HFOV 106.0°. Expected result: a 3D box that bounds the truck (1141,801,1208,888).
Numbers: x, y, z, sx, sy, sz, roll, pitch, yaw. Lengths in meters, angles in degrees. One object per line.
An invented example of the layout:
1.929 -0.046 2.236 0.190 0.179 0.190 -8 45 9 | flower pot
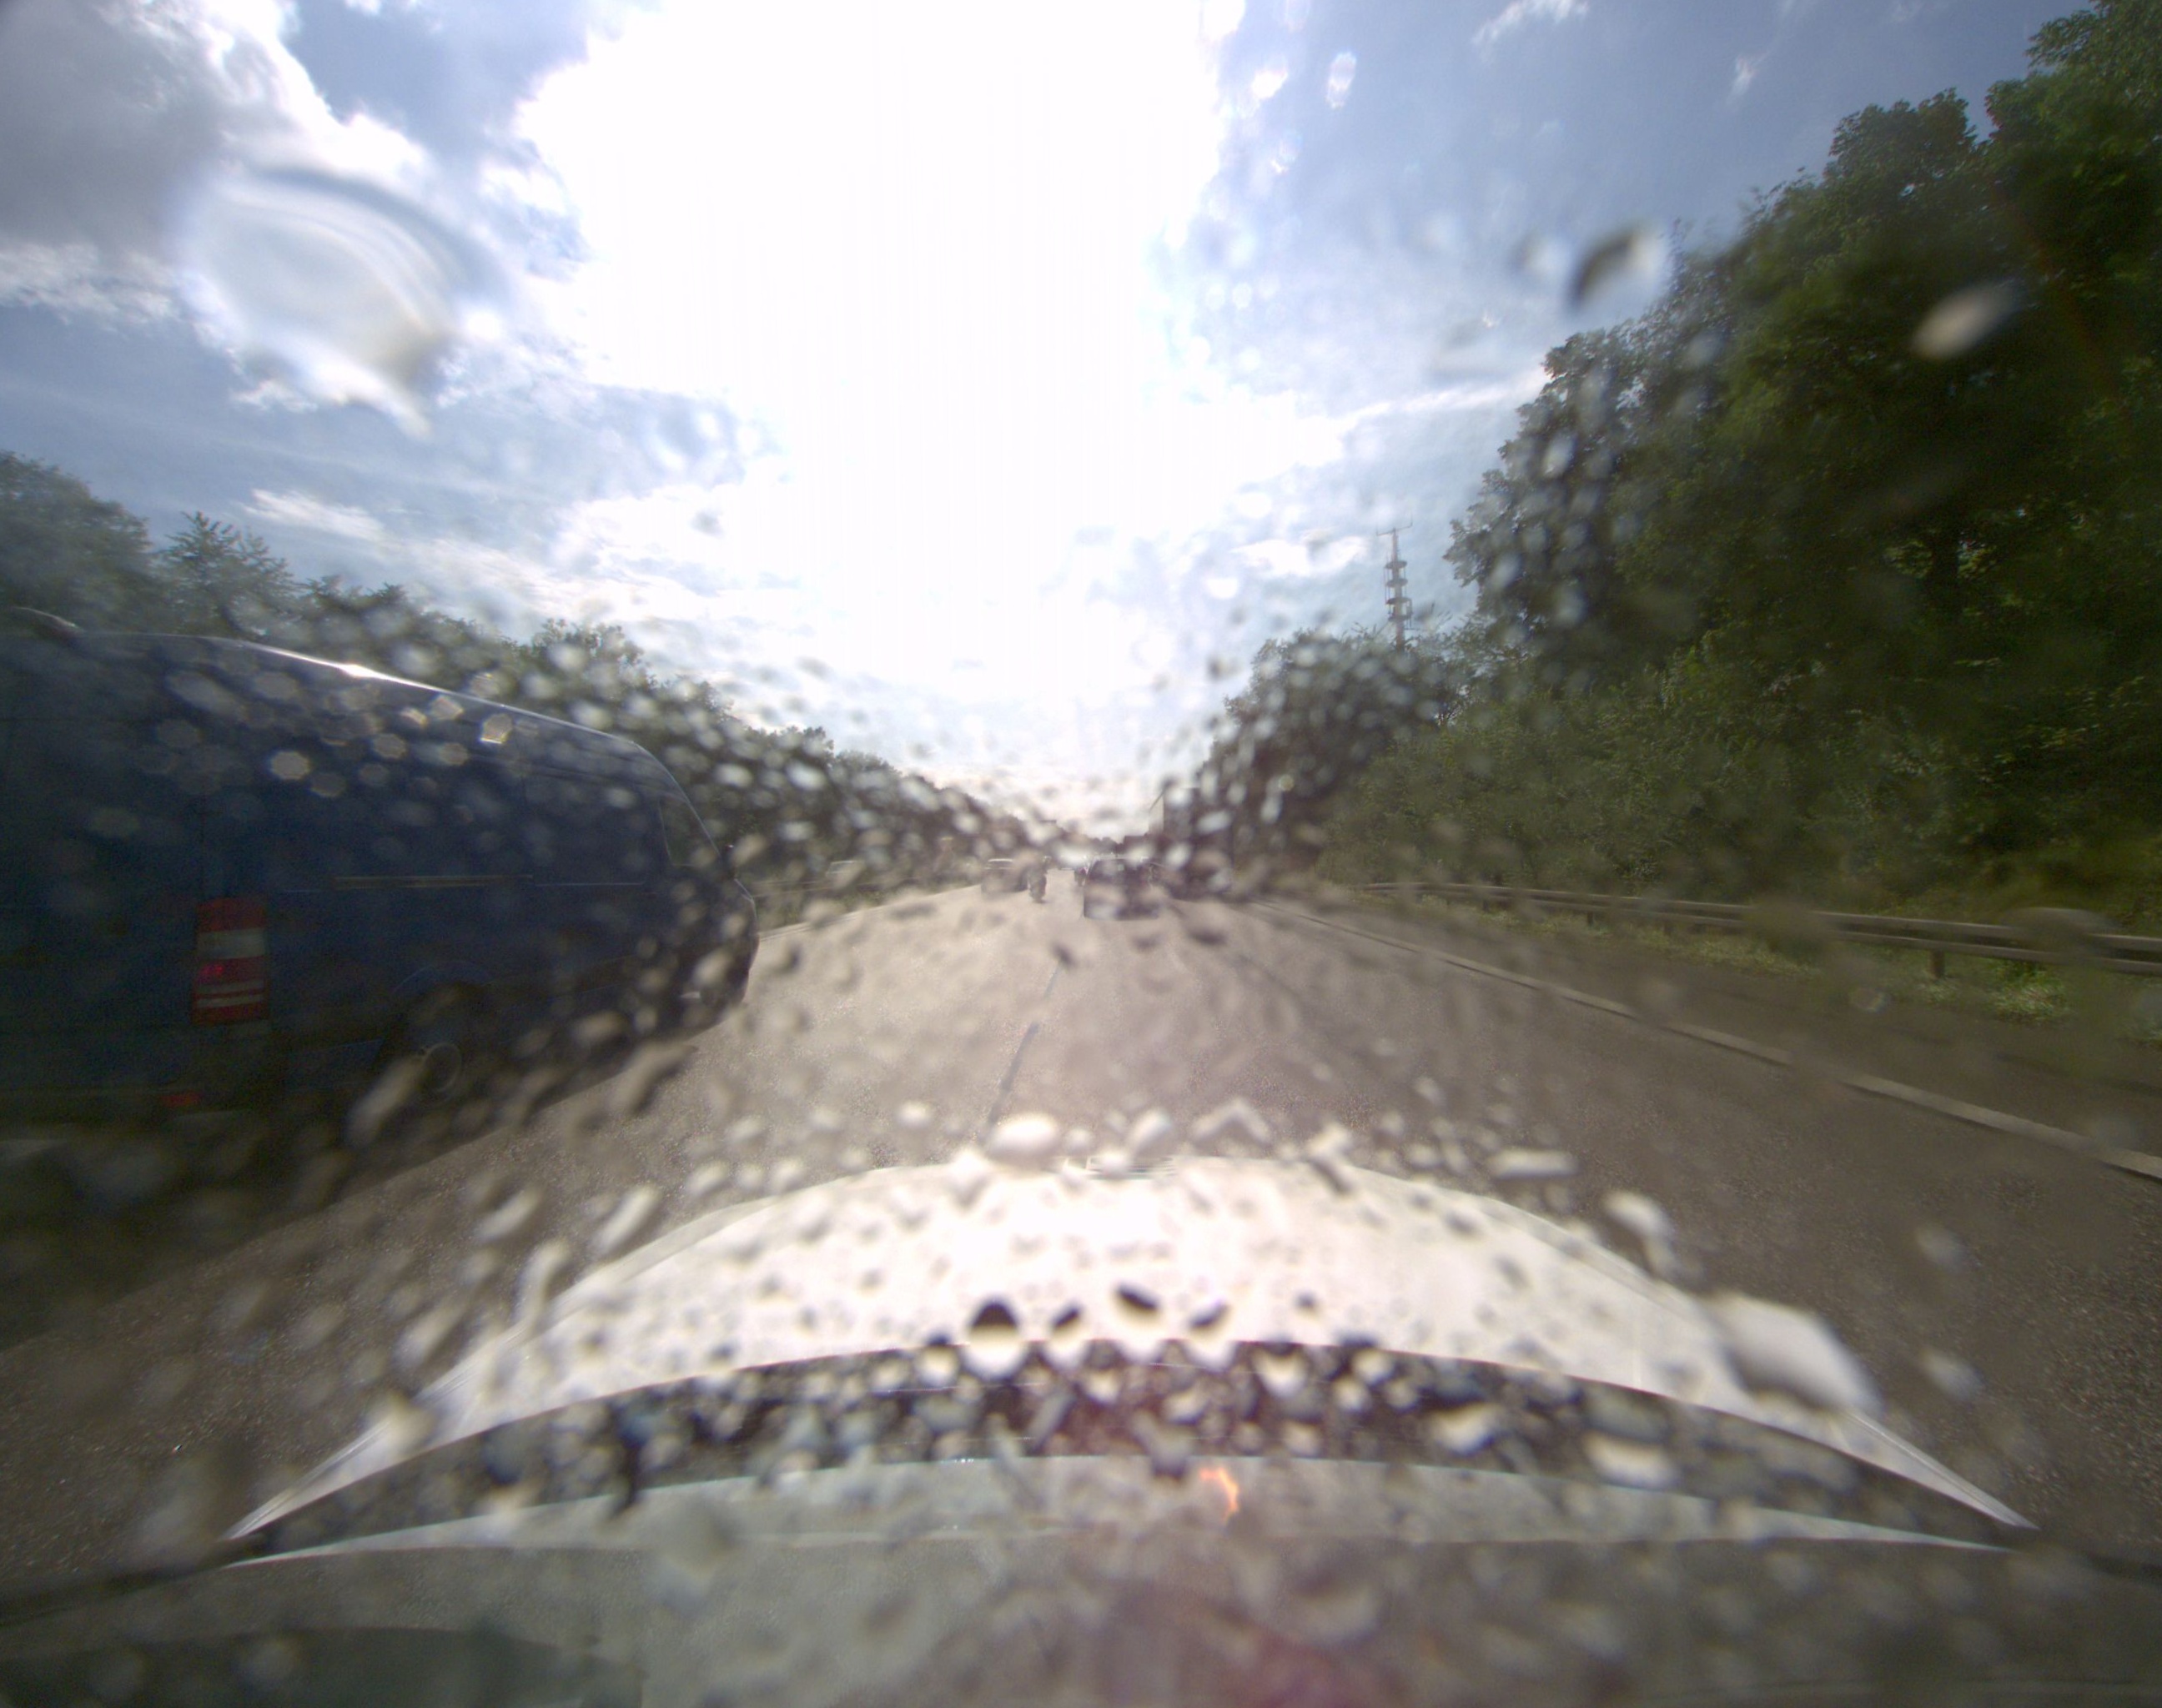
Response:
4.891 -0.442 43.811 3.041 4.325 5.888 -1 -1 2 | truck

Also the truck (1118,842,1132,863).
9.936 -0.293 184.265 2.871 4.687 12.663 -1 -1 2 | truck

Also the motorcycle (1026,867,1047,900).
-1.540 1.015 28.422 0.674 1.087 1.980 0 0 -1 | motorcycle

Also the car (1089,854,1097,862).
2.974 0.995 199.141 1.986 2.014 4.001 -1 -1 1 | car

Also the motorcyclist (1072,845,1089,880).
-0.015 0.432 42.447 0.818 1.761 1.391 -1 -1 3 | motorcyclist

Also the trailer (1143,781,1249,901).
4.698 -0.463 36.572 3.077 4.312 14.108 -1 0 1 | trailer

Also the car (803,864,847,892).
-19.794 1.852 63.074 1.986 2.013 4.002 -1 0 2 | car

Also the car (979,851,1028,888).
-3.586 0.696 38.467 1.752 1.595 4.332 -1 0 1 | car

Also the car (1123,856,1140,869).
5.660 0.938 91.477 1.669 1.490 3.437 -1 0 1 | car

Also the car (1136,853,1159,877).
5.916 0.955 72.720 1.842 2.014 4.089 -1 -1 2 | car

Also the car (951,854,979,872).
-11.867 0.909 83.478 1.986 1.834 4.621 1 0 2 | car

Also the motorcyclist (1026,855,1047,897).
-1.548 0.747 28.404 0.668 1.442 1.019 -1 -1 -2 | motorcyclist

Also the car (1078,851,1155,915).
0.934 0.738 22.516 1.908 1.565 4.315 -1 0 1 | car

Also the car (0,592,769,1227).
-4.609 0.248 6.309 2.008 2.648 5.778 -1 0 1 | car

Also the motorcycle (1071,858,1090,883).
-0.013 0.826 42.484 0.816 1.263 2.119 -1 0 3 | motorcycle

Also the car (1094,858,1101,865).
4.453 2.017 218.727 1.986 2.014 4.001 -1 -1 1 | car

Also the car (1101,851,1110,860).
4.386 0.228 145.871 1.626 1.490 3.437 -1 0 1 | car

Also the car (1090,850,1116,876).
1.780 0.722 65.270 1.986 2.014 4.000 -1 -1 1 | car

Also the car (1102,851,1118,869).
3.161 0.678 89.431 1.669 1.936 3.774 -1 0 1 | car

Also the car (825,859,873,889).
-16.001 1.336 56.339 1.917 1.911 4.291 -2 0 2 | car

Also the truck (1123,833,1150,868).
7.368 -0.461 109.307 3.190 4.404 9.437 -1 0 2 | truck

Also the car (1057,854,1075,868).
-1.791 0.826 96.101 1.886 1.628 4.196 -1 0 1 | car

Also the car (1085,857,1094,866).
1.875 1.697 179.306 1.986 2.014 4.001 -1 -1 1 | car

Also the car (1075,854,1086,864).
-0.024 0.801 128.307 1.669 1.597 3.437 -1 0 1 | car
